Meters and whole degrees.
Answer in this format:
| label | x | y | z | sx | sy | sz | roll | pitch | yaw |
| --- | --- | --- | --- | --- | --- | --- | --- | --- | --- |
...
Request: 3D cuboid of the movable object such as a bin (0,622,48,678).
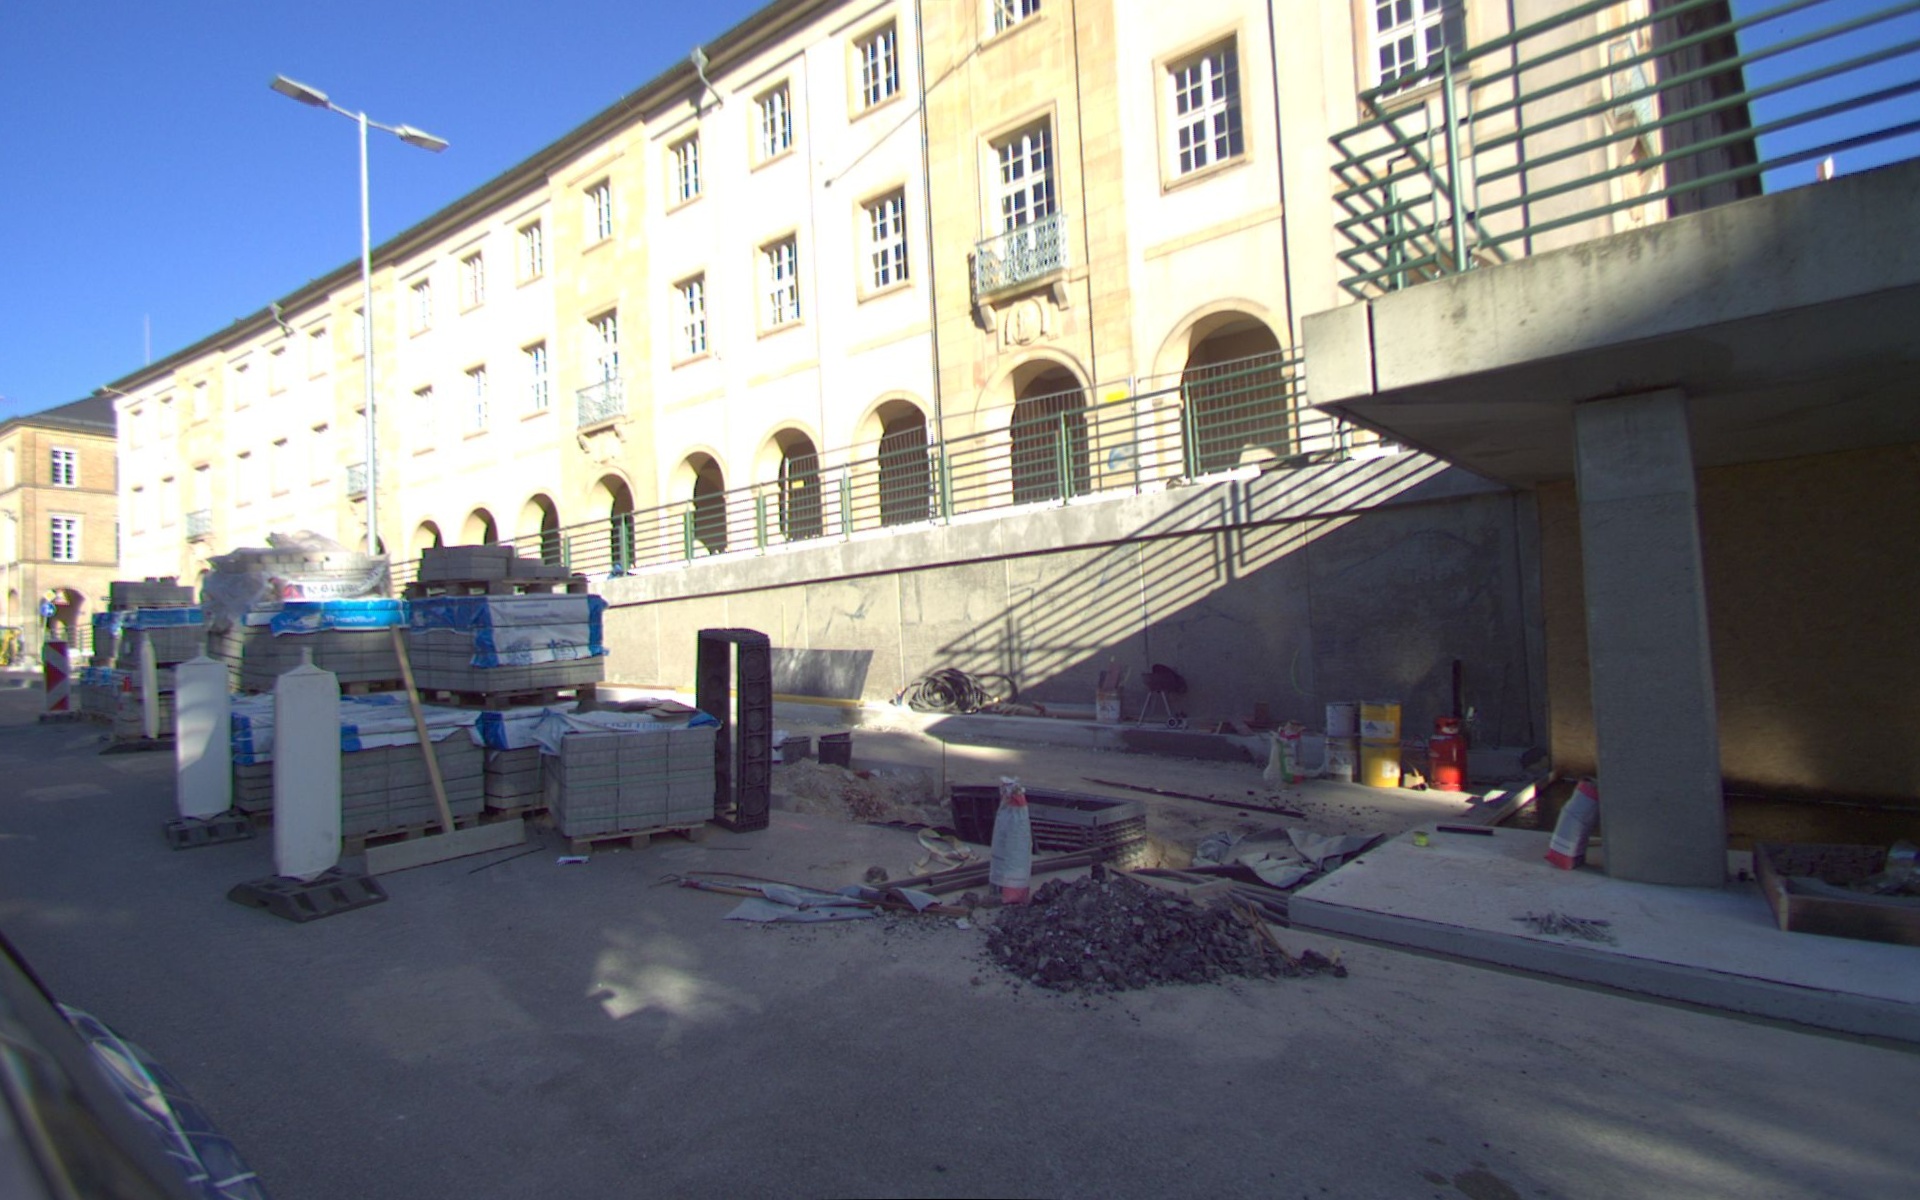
| label | x | y | z | sx | sy | sz | roll | pitch | yaw |
| --- | --- | --- | --- | --- | --- | --- | --- | --- | --- |
| movable object such as a bin | -44.455 | 2.365 | 46.984 | 4.295 | 2.414 | 2.082 | -4 | -5 | 33 |
